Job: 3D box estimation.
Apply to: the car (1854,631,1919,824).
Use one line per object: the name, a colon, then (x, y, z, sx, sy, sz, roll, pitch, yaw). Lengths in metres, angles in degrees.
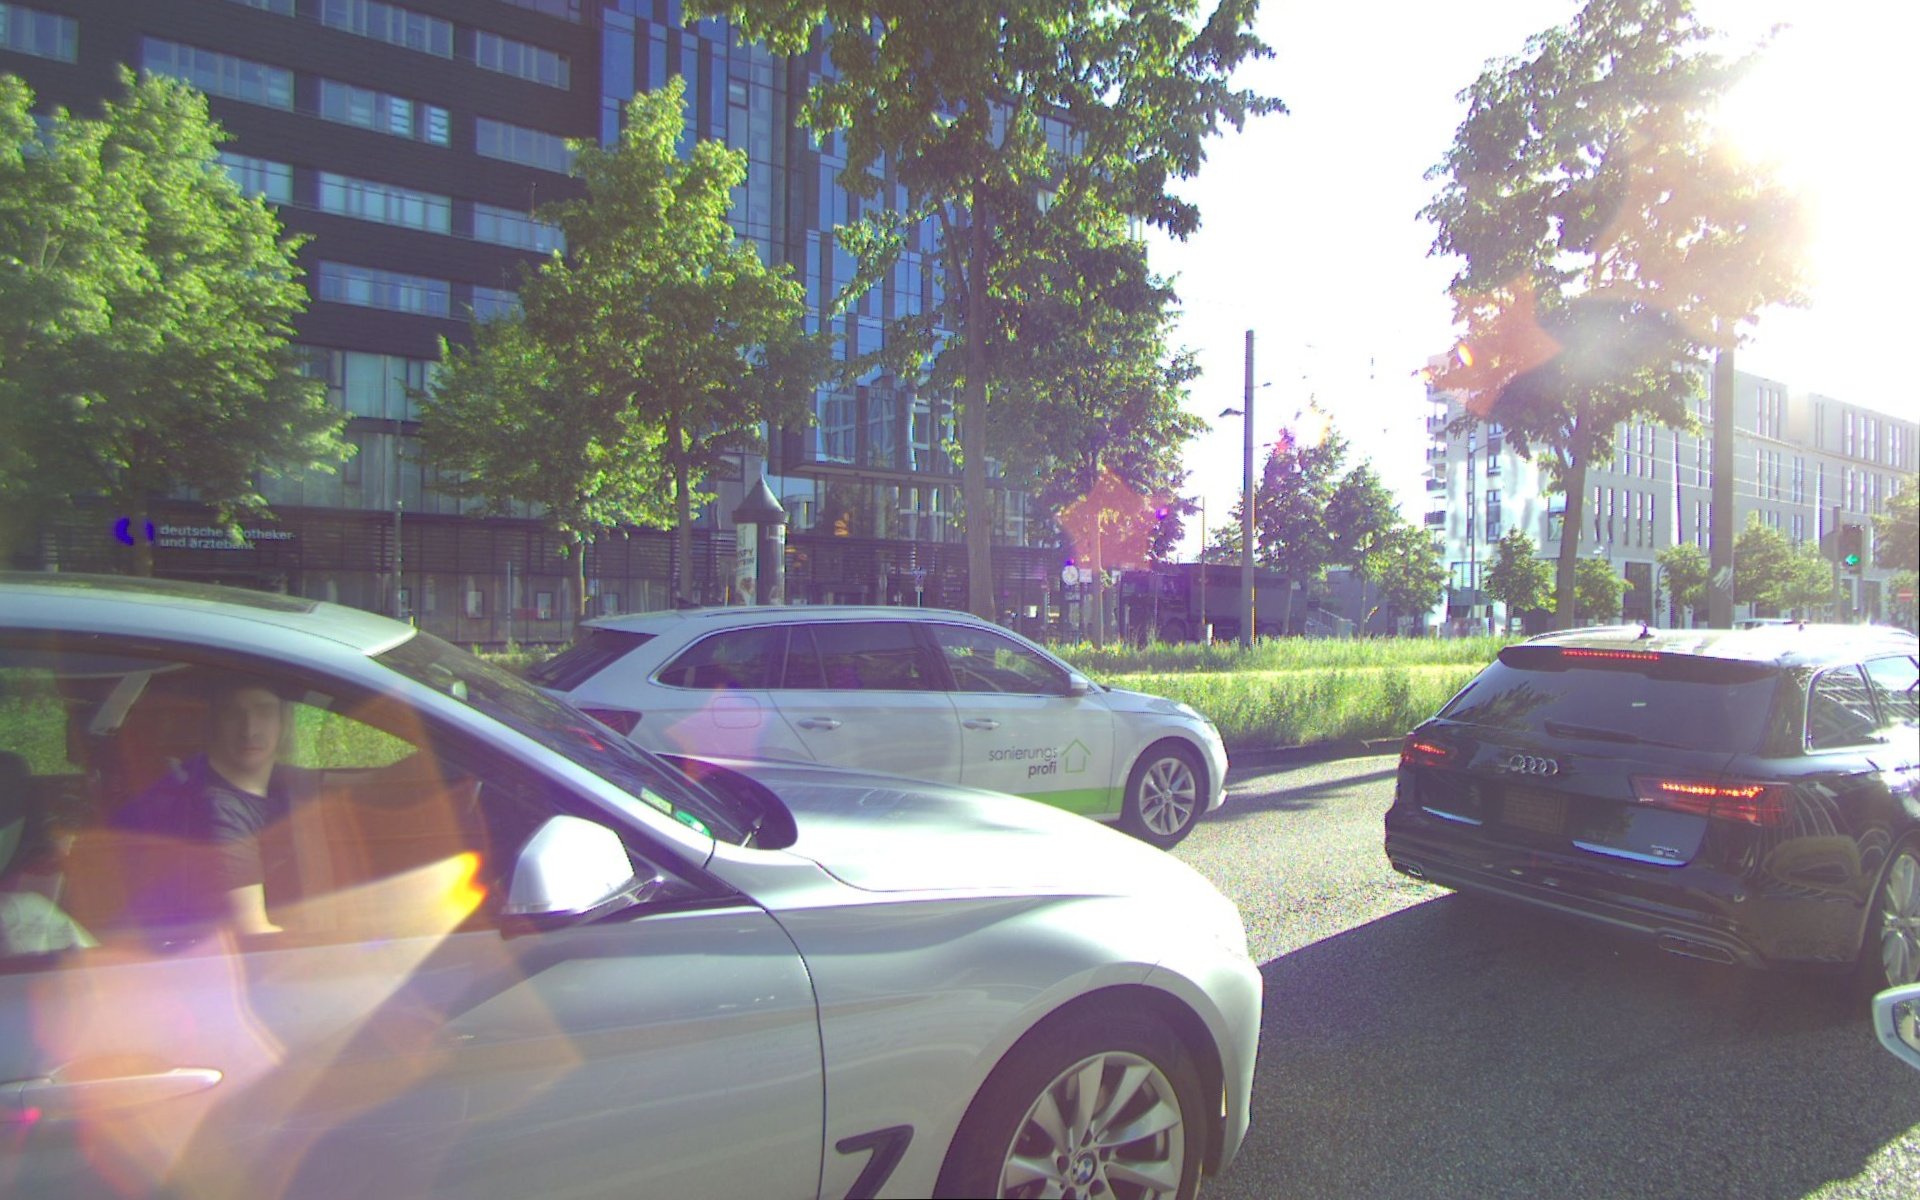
car: (9.342, 1.006, 8.202, 4.288, 1.445, 1.833, 1, -1, -30)

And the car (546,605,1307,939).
car: (-0.069, 0.804, 6.351, 4.515, 1.467, 1.790, 1, -1, -30)

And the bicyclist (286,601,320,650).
bicyclist: (-19.894, 0.775, 30.408, 0.811, 1.443, 0.475, 1, -1, -30)

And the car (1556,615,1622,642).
car: (37.535, 1.683, 59.906, 3.953, 1.540, 1.756, 1, -1, -30)

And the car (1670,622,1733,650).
car: (51.474, 2.509, 69.681, 4.319, 1.838, 1.984, 1, -1, -30)

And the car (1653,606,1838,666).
car: (25.321, 1.110, 32.603, 1.774, 1.503, 4.555, 2, 2, -14)

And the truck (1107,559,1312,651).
truck: (11.700, 0.301, 46.500, 10.094, 3.904, 2.877, 1, -1, -31)

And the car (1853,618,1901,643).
car: (78.101, 2.586, 85.528, 3.953, 2.040, 1.984, 1, -1, -30)

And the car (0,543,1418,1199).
car: (-1.281, 0.698, 2.029, 4.509, 1.504, 1.810, 1, -1, -31)

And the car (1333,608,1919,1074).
car: (4.374, 0.835, 5.349, 4.911, 1.504, 1.864, 1, -1, -32)

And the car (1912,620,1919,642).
car: (90.300, 2.871, 93.142, 3.953, 2.040, 1.984, 1, -1, -30)

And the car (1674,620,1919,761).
car: (11.070, 1.021, 12.569, 4.514, 1.467, 1.791, 1, -1, -30)

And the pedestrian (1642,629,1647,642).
pedestrian: (56.957, 2.941, 83.621, 0.286, 1.100, 0.252, 1, 0, -30)

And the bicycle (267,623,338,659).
bicycle: (-19.884, 1.236, 30.414, 1.735, 1.049, 0.475, 1, -1, -31)
